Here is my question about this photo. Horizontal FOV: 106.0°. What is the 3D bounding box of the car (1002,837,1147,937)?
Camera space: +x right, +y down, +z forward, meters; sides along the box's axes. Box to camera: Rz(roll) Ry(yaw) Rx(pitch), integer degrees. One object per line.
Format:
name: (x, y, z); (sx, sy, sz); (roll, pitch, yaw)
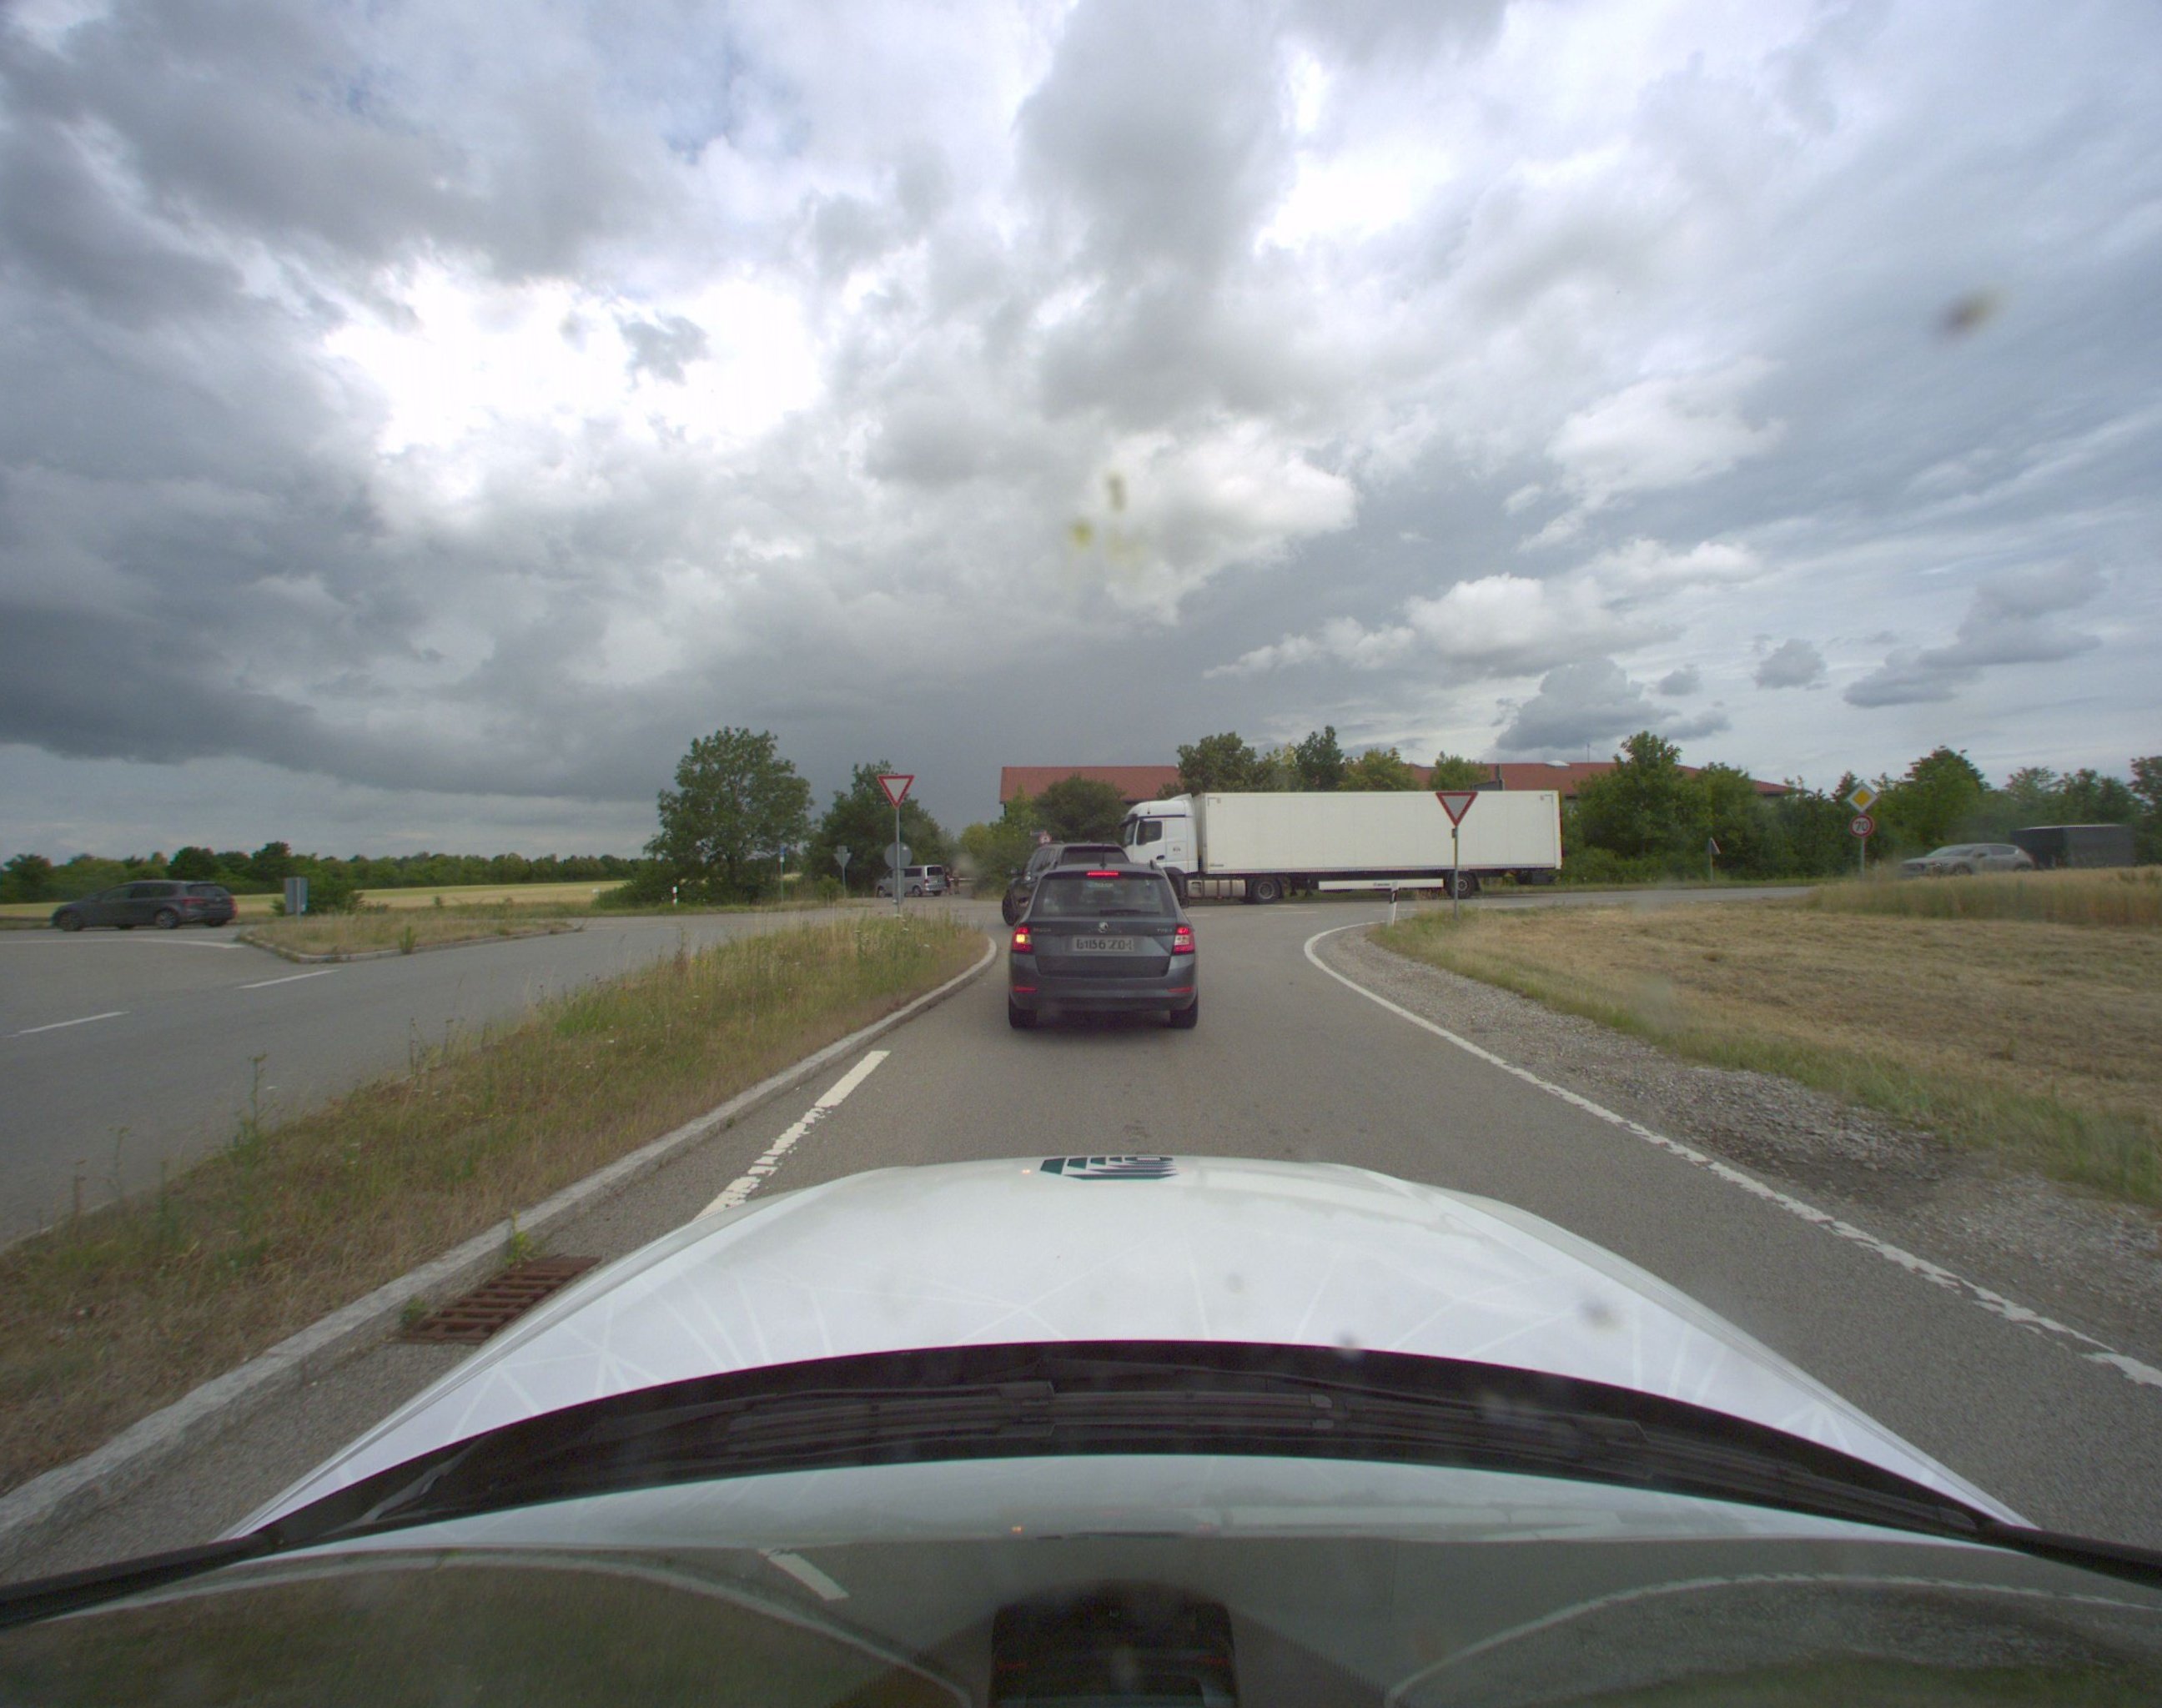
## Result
car: (-0.314, 0.640, 17.060); (1.997, 1.774, 4.621); (-1, -1, -14)

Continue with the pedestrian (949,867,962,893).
pedestrian: (-8.273, 1.729, 53.686); (0.559, 1.682, 0.589); (-2, 0, 28)

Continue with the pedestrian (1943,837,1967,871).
pedestrian: (44.301, -0.007, 41.266); (0.626, 1.682, 0.528); (-2, 0, -10)

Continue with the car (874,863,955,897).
car: (-10.752, 1.660, 52.595); (4.851, 2.013, 2.357); (-2, 0, 34)

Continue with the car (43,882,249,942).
car: (-30.596, 1.870, 26.761); (4.201, 1.601, 1.998); (-3, 0, -3)

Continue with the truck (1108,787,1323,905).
truck: (4.824, -0.258, 30.304); (7.273, 4.015, 3.122); (-1, -2, -6)

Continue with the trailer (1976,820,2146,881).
trailer: (40.160, -0.125, 33.443); (4.377, 2.293, 2.411); (-2, -2, -7)

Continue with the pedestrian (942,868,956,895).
pedestrian: (-8.448, 1.748, 52.209); (0.523, 1.725, 0.646); (-2, 0, 33)

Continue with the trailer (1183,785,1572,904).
trailer: (11.036, -0.349, 30.929); (13.821, 4.015, 3.122); (-1, -2, -6)

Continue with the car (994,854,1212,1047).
car: (0.156, 0.743, 8.118); (1.671, 1.462, 3.706); (0, 0, -1)

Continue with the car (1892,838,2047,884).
car: (35.748, 0.288, 32.832); (4.461, 1.682, 1.994); (-2, -2, -8)
